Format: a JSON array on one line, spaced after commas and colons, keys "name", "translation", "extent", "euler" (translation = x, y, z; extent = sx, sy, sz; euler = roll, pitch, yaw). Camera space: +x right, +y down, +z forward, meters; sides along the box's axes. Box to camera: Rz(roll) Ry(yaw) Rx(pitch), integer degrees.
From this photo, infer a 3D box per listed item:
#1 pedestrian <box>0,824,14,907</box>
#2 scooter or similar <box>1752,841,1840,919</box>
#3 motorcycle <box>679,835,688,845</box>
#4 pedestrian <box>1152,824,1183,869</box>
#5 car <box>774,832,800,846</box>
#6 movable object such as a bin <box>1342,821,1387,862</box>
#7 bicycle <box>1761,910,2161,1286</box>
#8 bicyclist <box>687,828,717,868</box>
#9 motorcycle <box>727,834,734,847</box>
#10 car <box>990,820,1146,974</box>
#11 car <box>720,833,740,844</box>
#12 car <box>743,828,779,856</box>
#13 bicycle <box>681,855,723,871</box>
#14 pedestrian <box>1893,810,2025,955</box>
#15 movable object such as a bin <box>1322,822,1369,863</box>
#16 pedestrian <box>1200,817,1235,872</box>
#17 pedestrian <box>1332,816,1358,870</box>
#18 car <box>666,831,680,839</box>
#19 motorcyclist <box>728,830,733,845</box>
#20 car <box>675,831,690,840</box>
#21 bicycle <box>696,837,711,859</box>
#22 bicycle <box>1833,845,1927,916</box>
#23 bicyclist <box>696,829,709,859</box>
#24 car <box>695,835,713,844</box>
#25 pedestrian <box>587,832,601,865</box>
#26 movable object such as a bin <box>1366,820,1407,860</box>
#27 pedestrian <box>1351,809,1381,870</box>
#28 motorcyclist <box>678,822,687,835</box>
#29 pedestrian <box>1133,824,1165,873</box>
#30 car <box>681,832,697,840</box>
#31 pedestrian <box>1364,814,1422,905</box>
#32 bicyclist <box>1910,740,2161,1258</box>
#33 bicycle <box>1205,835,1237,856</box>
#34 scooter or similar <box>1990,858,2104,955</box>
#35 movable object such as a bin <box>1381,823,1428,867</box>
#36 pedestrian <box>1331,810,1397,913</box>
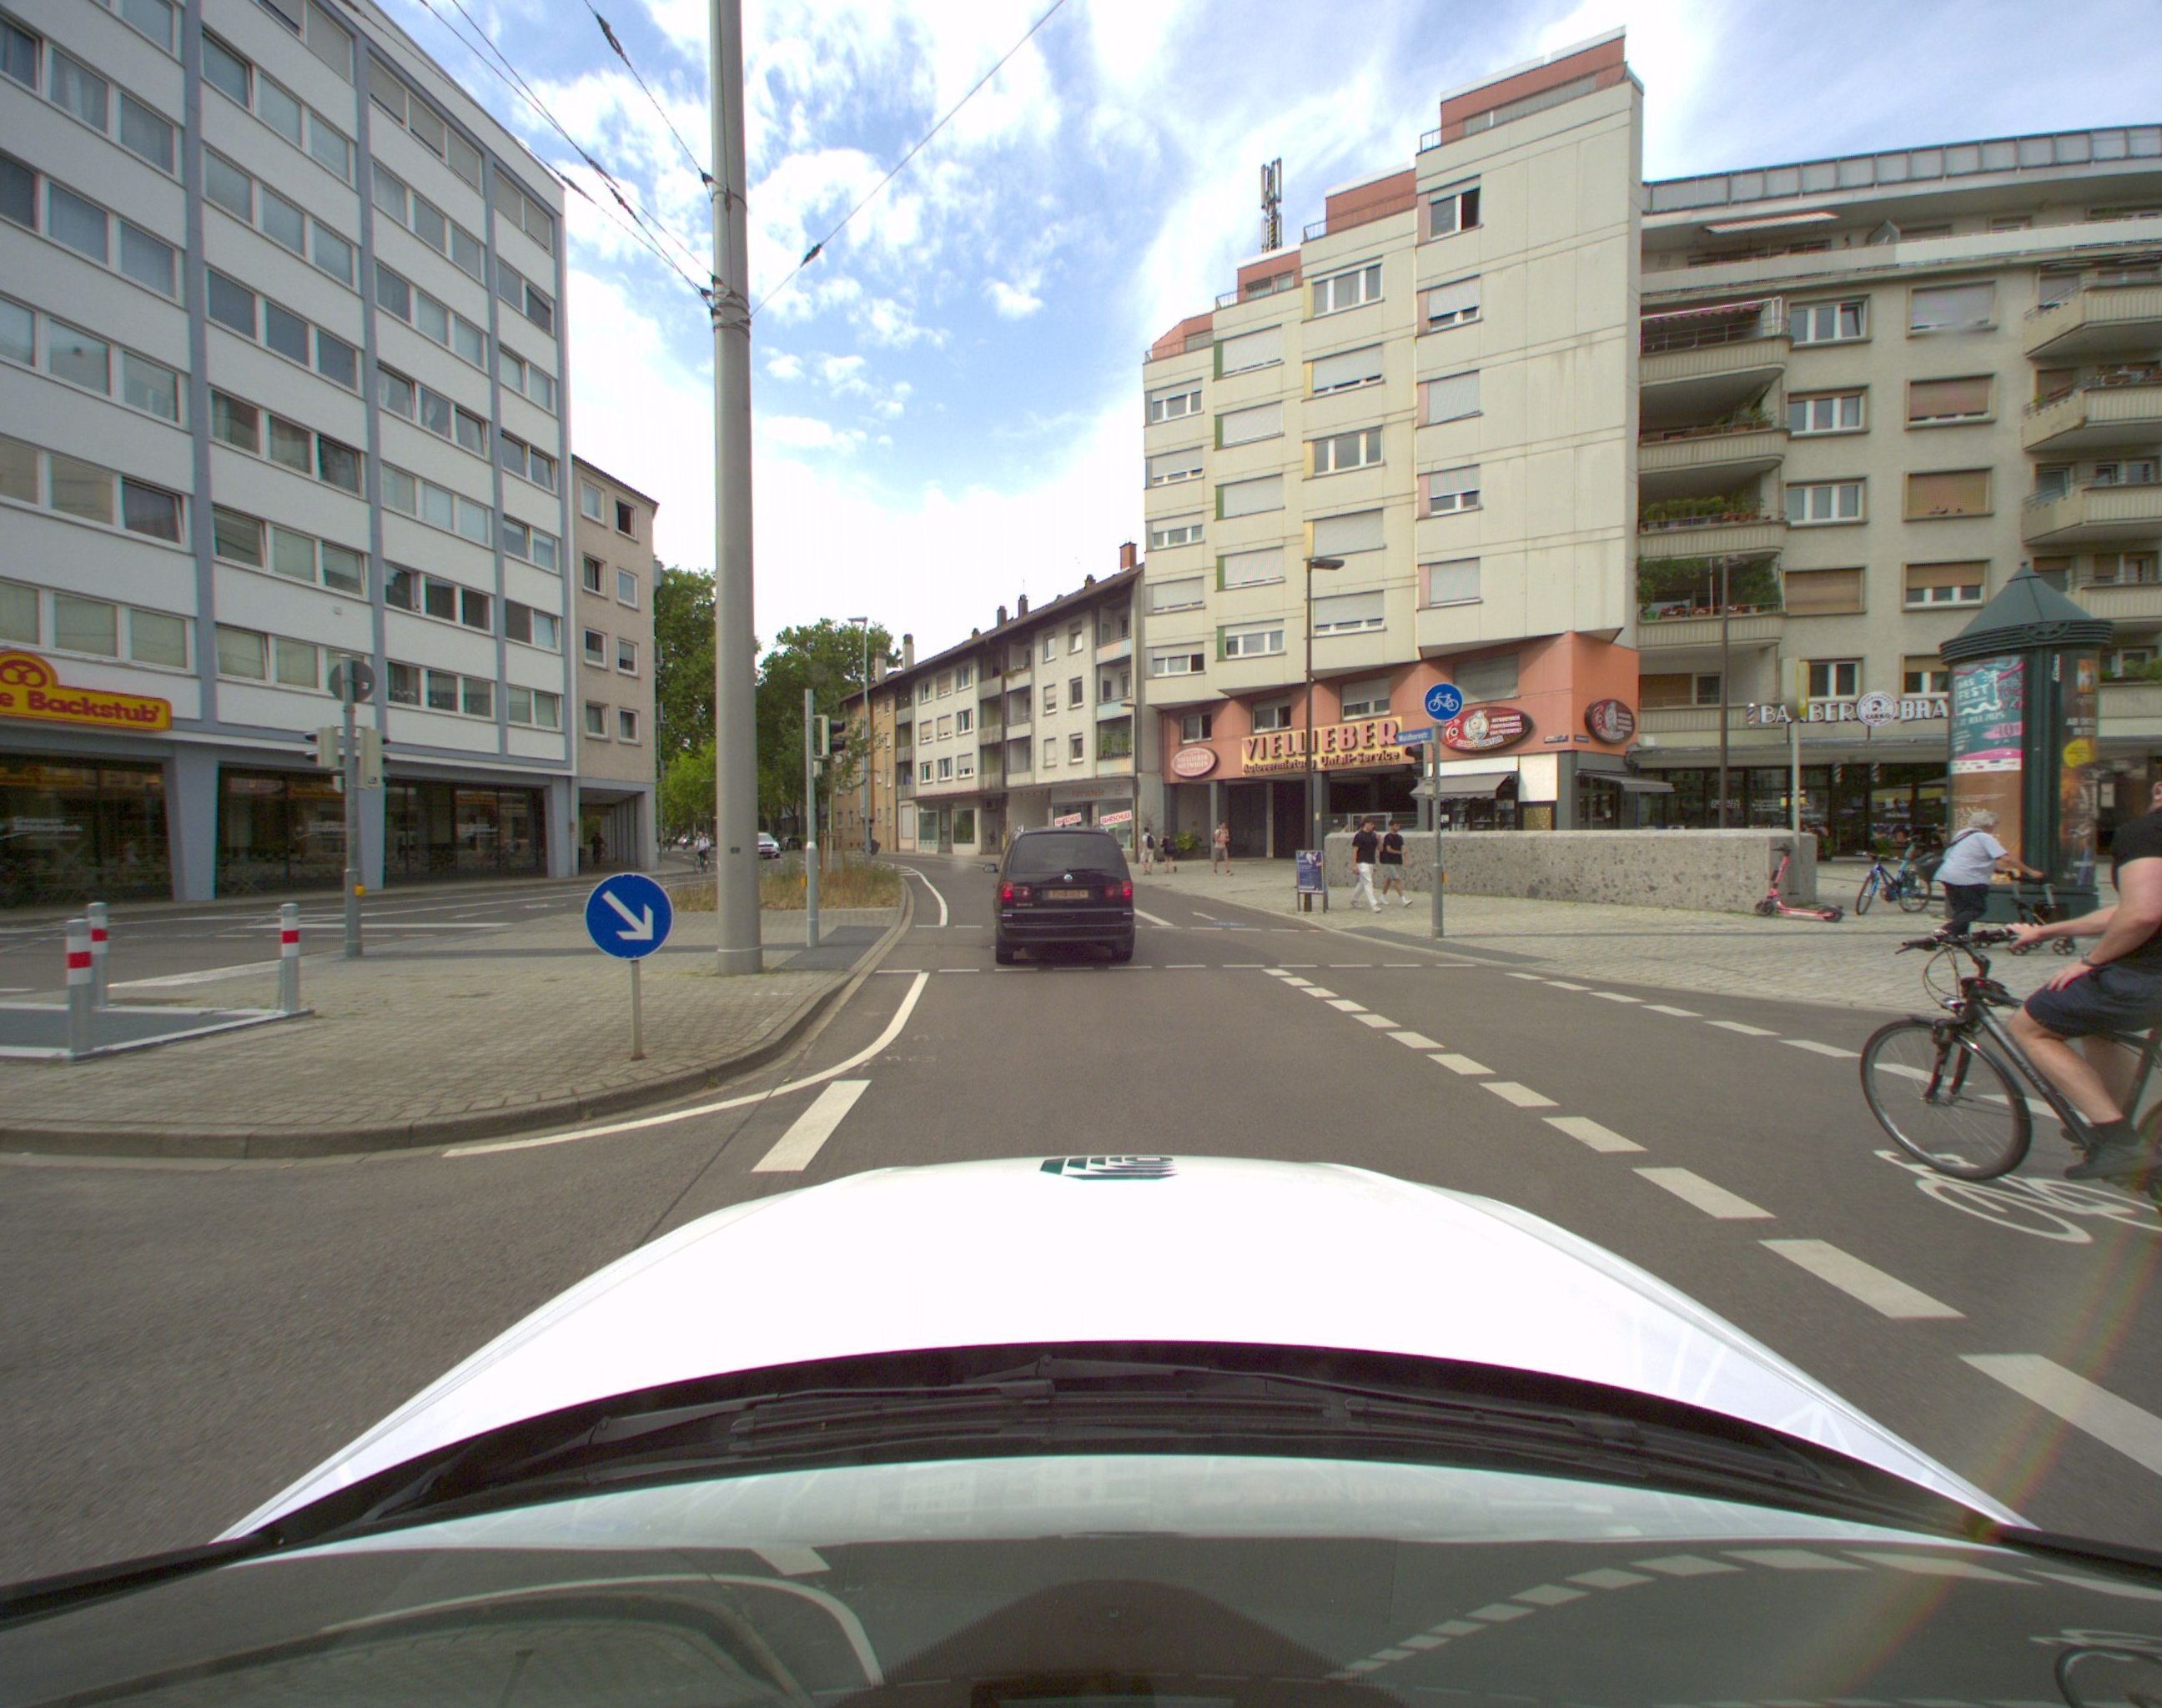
[{"name": "pedestrian", "translation": [-23.253, 0.259, 17.240], "extent": [0.473, 1.764, 0.591], "euler": [0, 2, 10]}, {"name": "scooter or similar", "translation": [11.649, 0.397, 13.305], "extent": [0.286, 1.212, 1.121], "euler": [-1, 2, -12]}, {"name": "motorcycle", "translation": [-43.423, -1.528, 88.916], "extent": [0.726, 1.094, 2.016], "euler": [-2, 2, -31]}, {"name": "pedestrian", "translation": [3.297, -0.291, 30.978], "extent": [0.609, 1.668, 0.934], "euler": [-6, 4, -36]}, {"name": "car", "translation": [-30.599, -1.577, 84.710], "extent": [1.670, 1.421, 3.826], "euler": [-2, 3, -35]}, {"name": "movable object such as a bin", "translation": [10.862, -0.508, 31.200], "extent": [1.203, 1.515, 1.184], "euler": [-2, 2, -36]}, {"name": "bicycle", "translation": [3.844, 0.887, 3.330], "extent": [0.404, 1.122, 2.016], "euler": [-1, 1, -1]}, {"name": "bicyclist", "translation": [-16.147, -0.269, 34.737], "extent": [0.603, 1.645, 1.041], "euler": [0, 2, 13]}, {"name": "motorcycle", "translation": [-38.029, -1.448, 88.366], "extent": [0.375, 1.349, 1.713], "euler": [-2, 2, -34]}, {"name": "car", "translation": [-0.339, 0.430, 11.369], "extent": [1.810, 1.765, 3.730], "euler": [-1, 2, -6]}, {"name": "car", "translation": [-47.103, -2.094, 109.235], "extent": [1.642, 1.469, 4.271], "euler": [-1, 2, -35]}, {"name": "car", "translation": [-20.475, -0.783, 52.009], "extent": [1.841, 1.659, 4.289], "euler": [-2, 3, -26]}, {"name": "bicycle", "translation": [-16.202, 0.390, 34.892], "extent": [0.480, 0.588, 2.006], "euler": [0, 2, 14]}, {"name": "pedestrian", "translation": [11.046, 0.328, 10.282], "extent": [0.926, 1.739, 0.689], "euler": [0, 2, 24]}, {"name": "movable object such as a bin", "translation": [9.870, -0.442, 30.421], "extent": [1.154, 1.460, 1.211], "euler": [-2, 2, -36]}, {"name": "pedestrian", "translation": [4.805, -0.338, 28.711], "extent": [0.661, 1.851, 0.962], "euler": [-5, 3, -31]}, {"name": "pedestrian", "translation": [8.453, -0.353, 26.073], "extent": [0.476, 1.672, 0.584], "euler": [-5, 4, -33]}, {"name": "car", "translation": [-75.063, -3.527, 149.759], "extent": [1.688, 1.393, 3.837], "euler": [-1, 2, -35]}, {"name": "motorcyclist", "translation": [-38.085, -1.777, 88.459], "extent": [0.449, 1.646, 0.514], "euler": [-2, 2, -34]}, {"name": "car", "translation": [-69.439, -3.252, 142.058], "extent": [1.655, 1.394, 3.473], "euler": [1, 1, -38]}, {"name": "bicycle", "translation": [-21.921, -0.367, 47.311], "extent": [0.515, 1.225, 1.547], "euler": [-2, 2, -35]}, {"name": "bicycle", "translation": [13.774, 0.422, 14.017], "extent": [2.457, 1.013, 0.539], "euler": [-4, 3, -31]}, {"name": "bicyclist", "translation": [-21.999, -0.594, 47.356], "extent": [0.542, 1.743, 0.750], "euler": [-2, 2, -35]}, {"name": "car", "translation": [-57.964, -2.216, 125.081], "extent": [1.688, 1.393, 4.413], "euler": [-1, 2, -35]}, {"name": "pedestrian", "translation": [-26.323, -0.307, 44.018], "extent": [0.585, 1.757, 0.776], "euler": [1, 1, -34]}, {"name": "movable object such as a bin", "translation": [11.953, -0.551, 31.856], "extent": [1.010, 1.515, 1.155], "euler": [-2, 2, -35]}, {"name": "pedestrian", "translation": [9.239, -0.480, 26.373], "extent": [0.677, 1.902, 0.584], "euler": [-5, 4, -34]}, {"name": "motorcyclist", "translation": [-43.614, -2.796, 89.099], "extent": [0.801, 1.460, 0.856], "euler": [-4, 3, -31]}, {"name": "pedestrian", "translation": [2.556, -0.213, 30.574], "extent": [0.755, 1.749, 0.852], "euler": [-6, 4, -26]}, {"name": "car", "translation": [-66.422, -3.089, 138.000], "extent": [1.655, 1.413, 3.377], "euler": [-2, 2, -38]}, {"name": "pedestrian", "translation": [6.469, 0.094, 16.897], "extent": [0.680, 1.799, 0.876], "euler": [-5, 5, -40]}, {"name": "bicyclist", "translation": [3.833, 0.462, 3.046], "extent": [0.557, 1.709, 0.862], "euler": [-1, 2, -1]}, {"name": "bicycle", "translation": [6.624, -0.413, 38.668], "extent": [0.456, 0.896, 1.660], "euler": [-2, 3, -34]}, {"name": "scooter or similar", "translation": [11.794, 0.618, 9.968], "extent": [0.693, 1.110, 0.612], "euler": [-1, 2, 23]}, {"name": "movable object such as a bin", "translation": [11.357, -0.328, 28.621], "extent": [1.152, 1.515, 1.077], "euler": [-2, 2, -36]}, {"name": "pedestrian", "translation": [5.704, 0.119, 16.418], "extent": [0.725, 1.970, 1.002], "euler": [-5, 5, -39]}]
